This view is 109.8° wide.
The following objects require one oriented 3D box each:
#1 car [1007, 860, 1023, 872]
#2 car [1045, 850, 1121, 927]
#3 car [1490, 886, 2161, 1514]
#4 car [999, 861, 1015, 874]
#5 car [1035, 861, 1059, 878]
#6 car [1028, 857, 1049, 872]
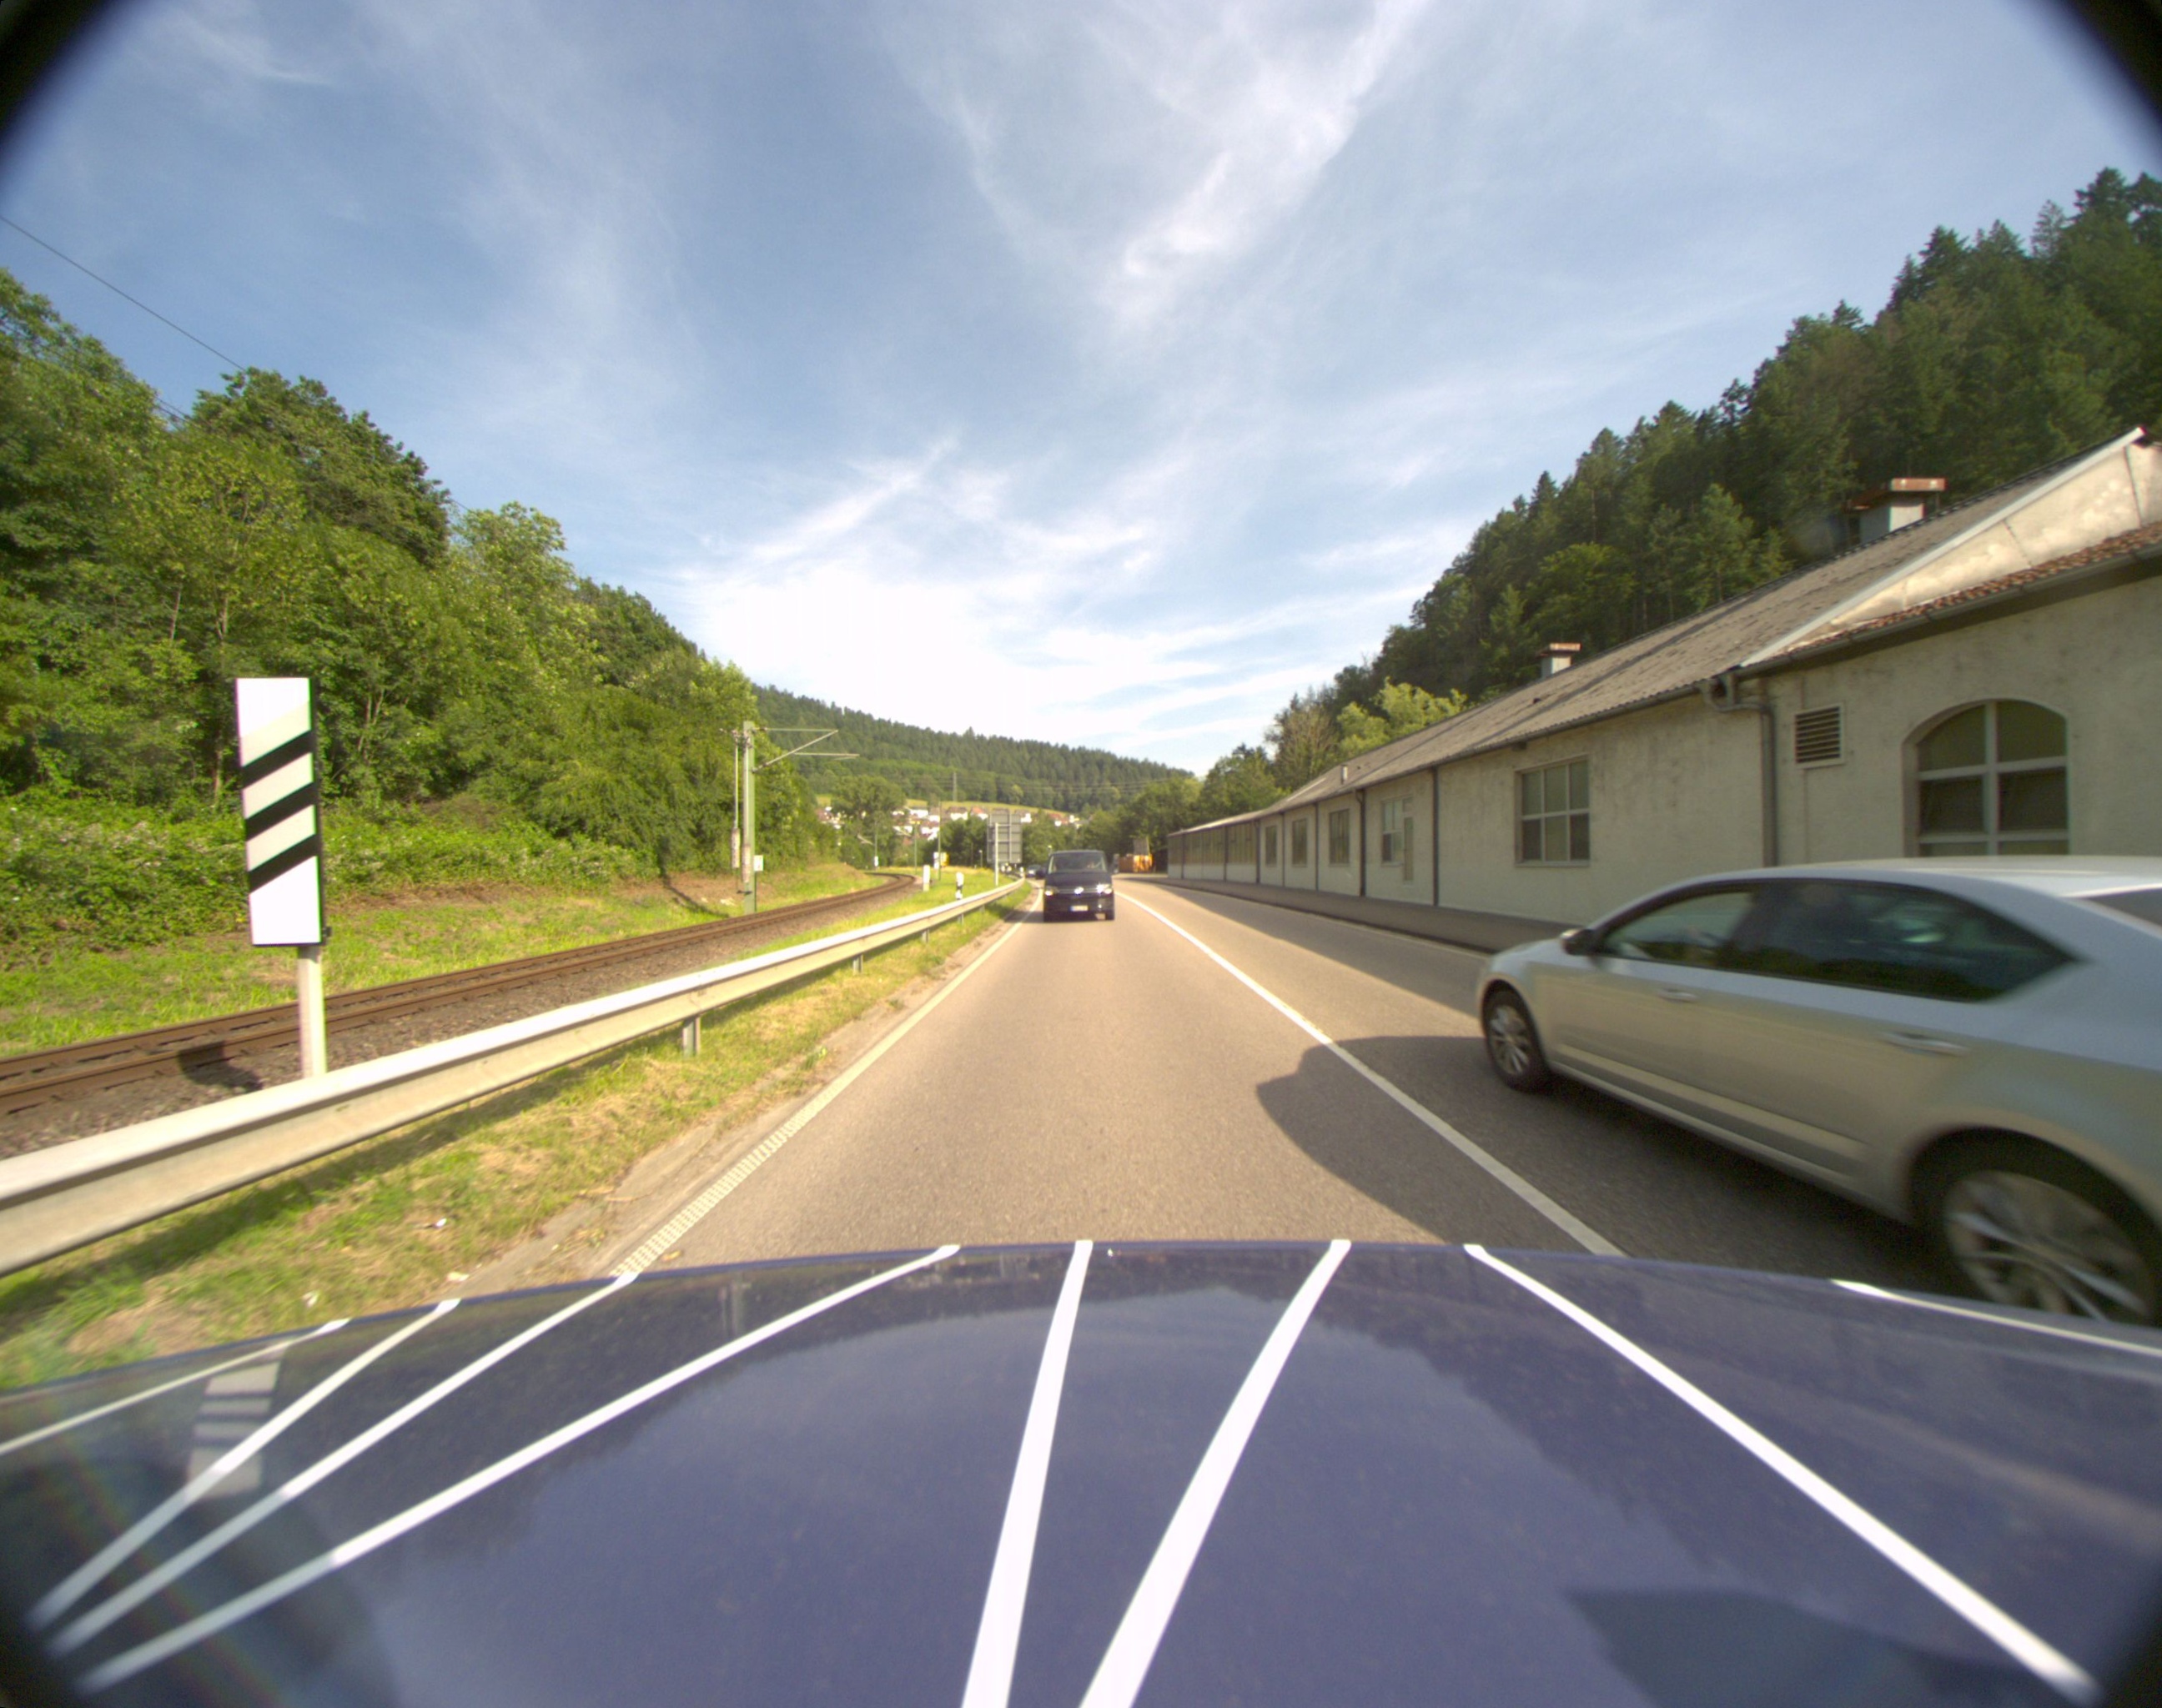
[{"bbox_3d":[-9.034,1.667,103.602,1.874,1.583,4.049,-1,0,-10],"label":"car"},{"bbox_3d":[-0.044,0.894,21.928,1.901,1.927,5.188,-1,0,-2],"label":"car"},{"bbox_3d":[3.520,0.916,2.845,1.744,1.384,4.109,-2,0,0],"label":"car"},{"bbox_3d":[-12.573,2.314,128.506,2.001,2.002,3.994,-2,0,-16],"label":"car"},{"bbox_3d":[-3.444,1.534,75.921,1.874,1.583,4.049,-1,-1,-10],"label":"car"},{"bbox_3d":[-4.844,1.226,86.162,1.874,1.583,4.049,-1,-1,-10],"label":"car"}]
